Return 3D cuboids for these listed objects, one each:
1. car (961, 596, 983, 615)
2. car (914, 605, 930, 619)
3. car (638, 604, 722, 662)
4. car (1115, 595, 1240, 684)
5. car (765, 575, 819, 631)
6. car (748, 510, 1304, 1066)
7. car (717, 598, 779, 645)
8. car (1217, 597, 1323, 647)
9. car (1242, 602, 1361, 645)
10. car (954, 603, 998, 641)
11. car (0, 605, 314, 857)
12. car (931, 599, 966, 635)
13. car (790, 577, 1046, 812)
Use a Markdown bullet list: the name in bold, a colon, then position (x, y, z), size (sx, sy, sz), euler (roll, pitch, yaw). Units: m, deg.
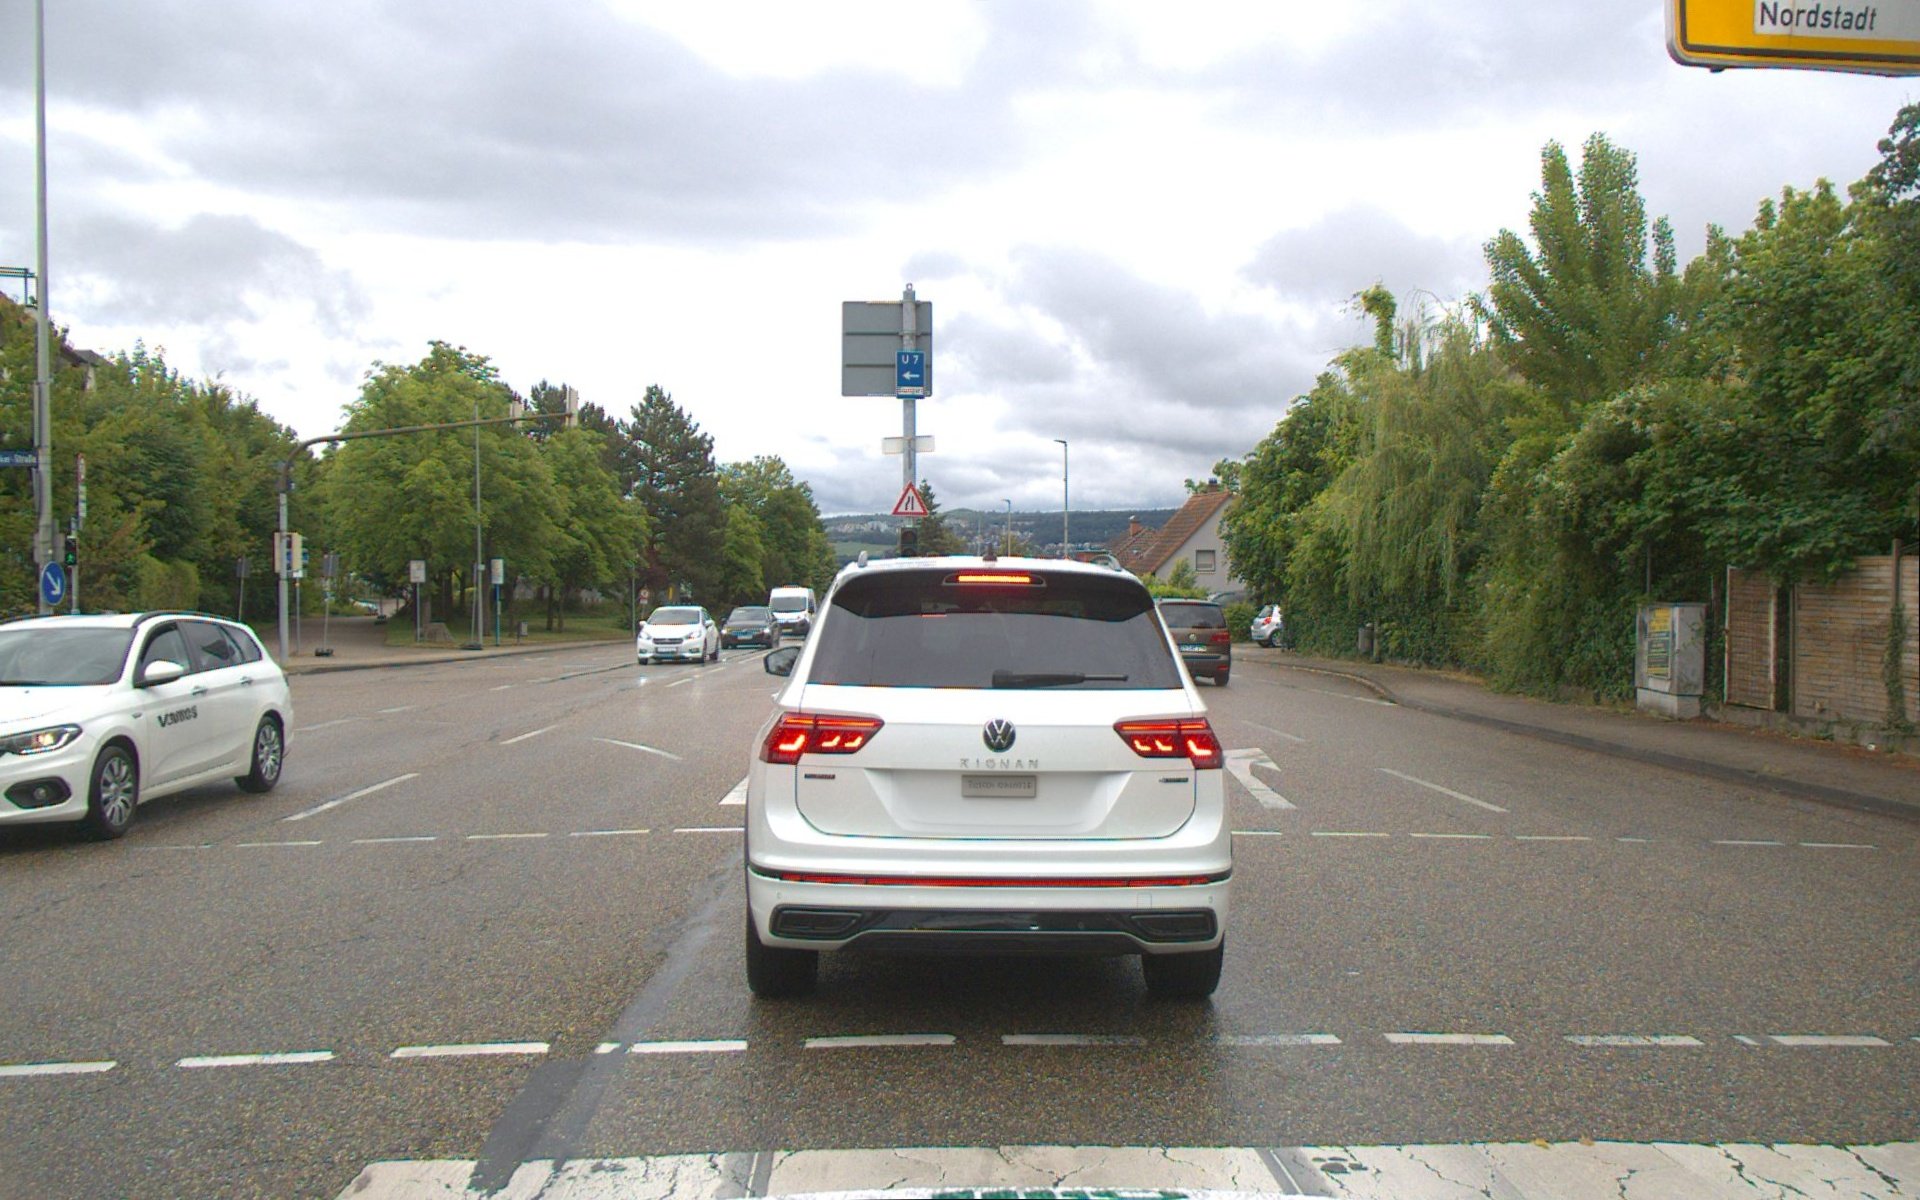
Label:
- **car**: position (1.048, 0.466, 145.965), size (1.813, 1.602, 3.999), euler (-1, 0, -1)
- **car**: position (-4.602, 1.483, 200.153), size (1.813, 1.602, 3.999), euler (-1, 0, -1)
- **car**: position (-7.268, 0.828, 43.198), size (1.711, 1.421, 3.800), euler (0, 0, -3)
- **car**: position (4.202, 0.723, 32.560), size (1.701, 1.602, 4.066), euler (1, 0, -3)
- **car**: position (-8.121, 0.128, 80.494), size (2.251, 2.572, 5.770), euler (-1, 0, -3)
- **car**: position (0.158, 0.602, 7.436), size (1.727, 1.725, 4.271), euler (2, 0, -2)
- **car**: position (-7.526, 0.745, 59.044), size (1.740, 1.528, 4.470), euler (-2, 0, -2)
- **car**: position (11.616, 0.802, 62.117), size (3.556, 1.777, 1.707), euler (0, 2, -5)
- **car**: position (11.692, 0.816, 56.717), size (3.644, 1.420, 1.725), euler (0, -1, -8)
- **car**: position (0.649, 0.890, 69.076), size (1.646, 1.485, 3.800), euler (1, 0, -2)
- **car**: position (-6.541, 0.824, 12.180), size (1.928, 1.479, 4.307), euler (-2, 0, -2)
- **car**: position (-0.614, 0.857, 85.098), size (1.677, 1.789, 3.800), euler (0, 0, -2)
- **car**: position (-0.305, 0.655, 13.483), size (1.762, 1.617, 3.926), euler (1, 0, 0)
